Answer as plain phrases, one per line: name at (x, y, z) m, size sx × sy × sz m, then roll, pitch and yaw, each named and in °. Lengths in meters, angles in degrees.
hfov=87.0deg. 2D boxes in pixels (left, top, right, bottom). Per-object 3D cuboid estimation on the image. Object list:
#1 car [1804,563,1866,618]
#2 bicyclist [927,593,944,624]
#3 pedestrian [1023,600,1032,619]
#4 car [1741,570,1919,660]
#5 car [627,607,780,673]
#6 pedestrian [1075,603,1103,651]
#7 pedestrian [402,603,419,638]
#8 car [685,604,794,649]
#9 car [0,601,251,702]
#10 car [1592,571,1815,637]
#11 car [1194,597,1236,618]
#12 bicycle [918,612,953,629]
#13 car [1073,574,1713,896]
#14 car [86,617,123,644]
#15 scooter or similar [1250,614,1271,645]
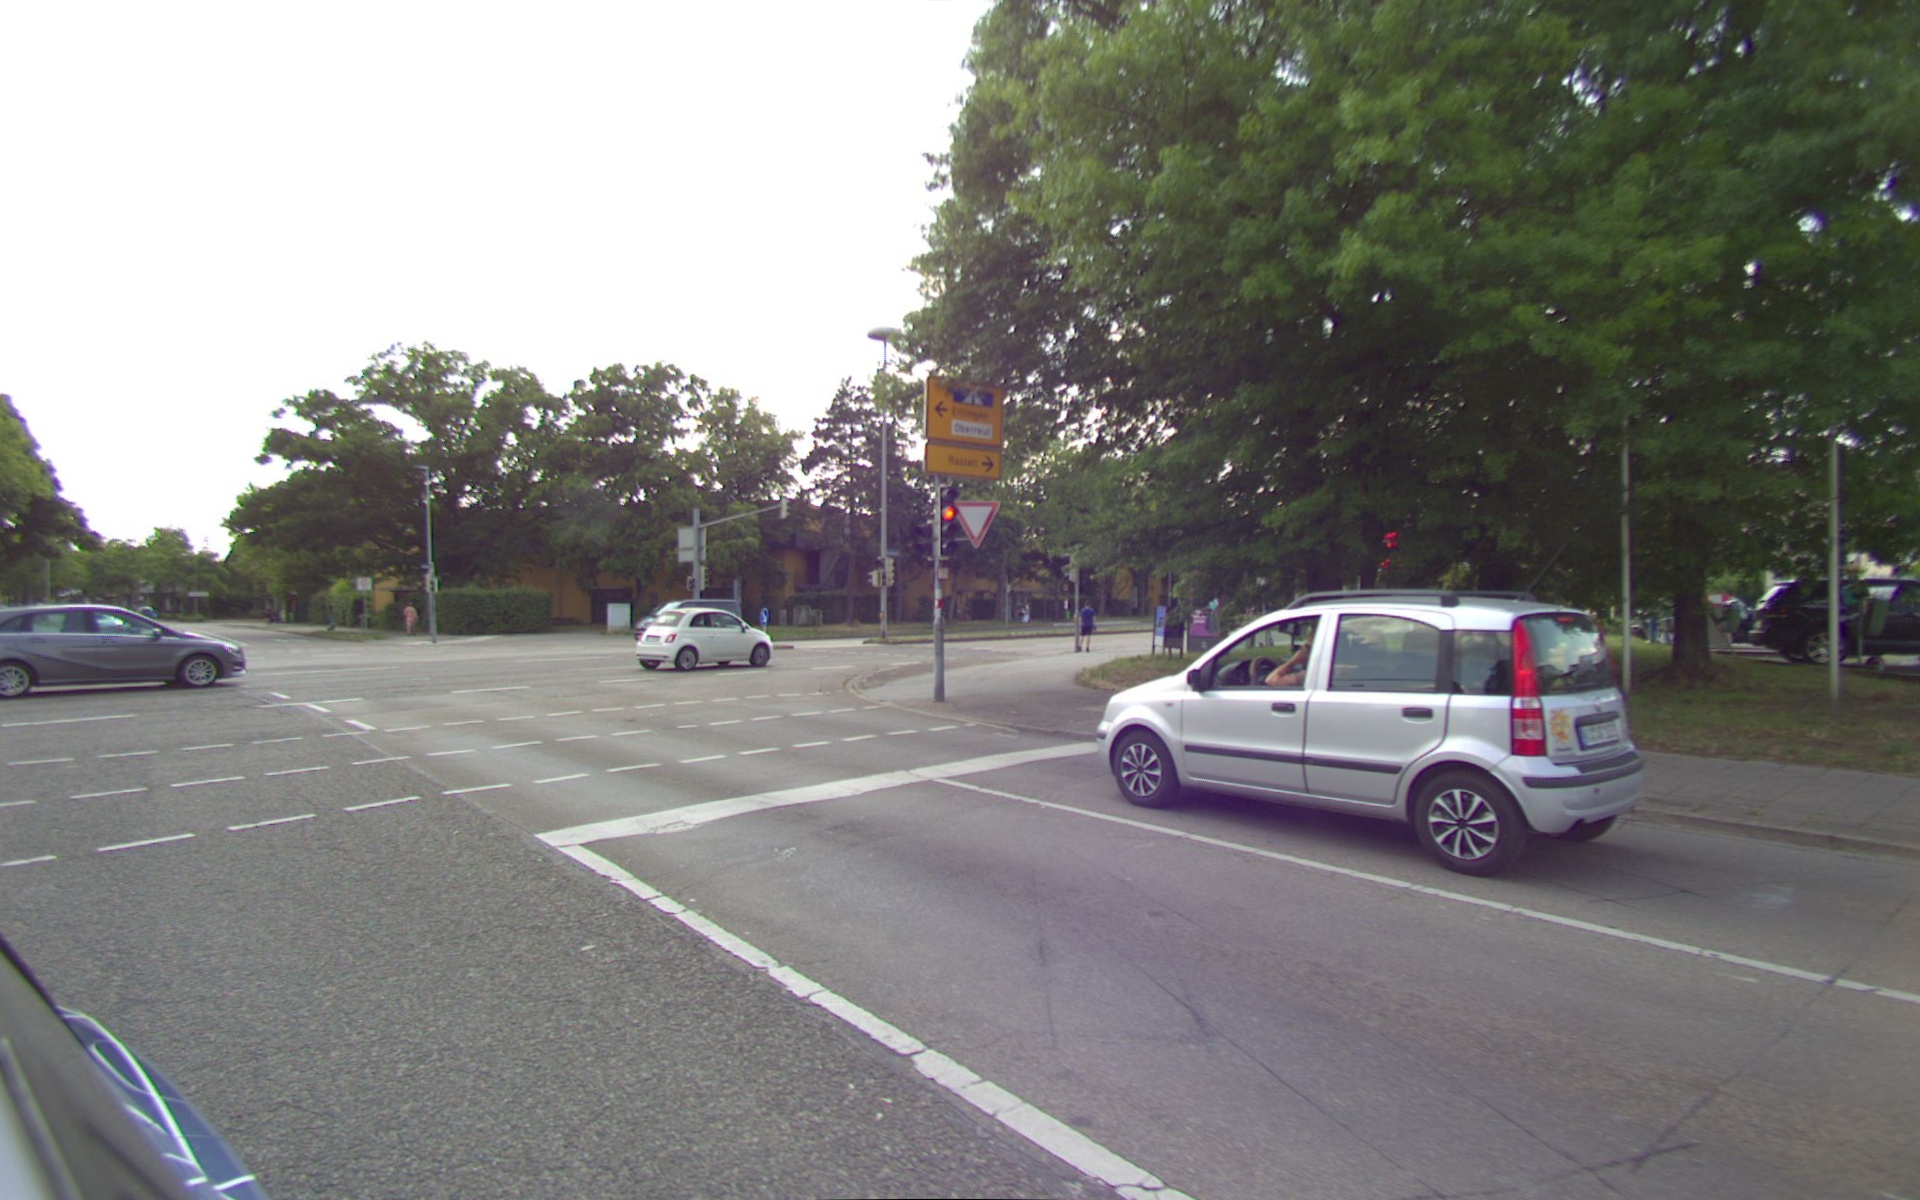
car at (41.715, -0.404, 48.344) m, size 1.753 × 2.472 × 5.679 m, roll -1°, pitch 0°, yaw 36°
bicyclist at (-1.566, 0.552, 65.319) m, size 0.826 × 2.029 × 0.748 m, roll -1°, pitch -1°, yaw 23°
pedestrian at (5.254, 0.741, 78.751) m, size 0.568 × 1.507 × 0.418 m, roll 2°, pitch 0°, yaw 23°
car at (17.705, 0.270, 18.942) m, size 4.543 × 1.608 × 2.133 m, roll 0°, pitch 0°, yaw 28°
car at (-6.309, 0.936, 25.127) m, size 1.572 × 1.508 × 3.496 m, roll 0°, pitch 0°, yaw 37°
pedestrian at (4.134, 0.857, 32.468) m, size 0.722 × 1.543 × 0.754 m, roll -1°, pitch -1°, yaw 22°
pedestrian at (-27.746, 1.036, 51.112) m, size 0.681 × 1.755 × 0.707 m, roll 0°, pitch -1°, yaw -35°
car at (-9.822, 1.150, 45.350) m, size 1.769 × 1.871 × 4.755 m, roll -1°, pitch 0°, yaw 38°
car at (-15.684, 0.853, 18.370) m, size 1.702 × 1.631 × 4.304 m, roll 1°, pitch 1°, yaw 38°
car at (22.317, 0.130, 30.707) m, size 5.174 × 1.840 × 2.133 m, roll 0°, pitch 0°, yaw 29°
car at (21.973, 0.628, 87.052) m, size 1.864 × 1.718 × 4.399 m, roll -1°, pitch 0°, yaw 38°
bicycle at (-1.592, 1.314, 65.332) m, size 2.101 × 1.127 × 0.751 m, roll -1°, pitch 0°, yaw 24°
car at (2.574, 0.642, 6.708) m, size 1.534 × 1.528 × 3.616 m, roll 0°, pitch 0°, yaw -38°
car at (-53.052, 1.863, 62.767) m, size 1.704 × 1.439 × 4.006 m, roll 1°, pitch 1°, yaw -41°
scooter or similar at (9.836, 0.948, 33.083) m, size 0.221 × 0.987 × 1.256 m, roll -1°, pitch -1°, yaw 38°
